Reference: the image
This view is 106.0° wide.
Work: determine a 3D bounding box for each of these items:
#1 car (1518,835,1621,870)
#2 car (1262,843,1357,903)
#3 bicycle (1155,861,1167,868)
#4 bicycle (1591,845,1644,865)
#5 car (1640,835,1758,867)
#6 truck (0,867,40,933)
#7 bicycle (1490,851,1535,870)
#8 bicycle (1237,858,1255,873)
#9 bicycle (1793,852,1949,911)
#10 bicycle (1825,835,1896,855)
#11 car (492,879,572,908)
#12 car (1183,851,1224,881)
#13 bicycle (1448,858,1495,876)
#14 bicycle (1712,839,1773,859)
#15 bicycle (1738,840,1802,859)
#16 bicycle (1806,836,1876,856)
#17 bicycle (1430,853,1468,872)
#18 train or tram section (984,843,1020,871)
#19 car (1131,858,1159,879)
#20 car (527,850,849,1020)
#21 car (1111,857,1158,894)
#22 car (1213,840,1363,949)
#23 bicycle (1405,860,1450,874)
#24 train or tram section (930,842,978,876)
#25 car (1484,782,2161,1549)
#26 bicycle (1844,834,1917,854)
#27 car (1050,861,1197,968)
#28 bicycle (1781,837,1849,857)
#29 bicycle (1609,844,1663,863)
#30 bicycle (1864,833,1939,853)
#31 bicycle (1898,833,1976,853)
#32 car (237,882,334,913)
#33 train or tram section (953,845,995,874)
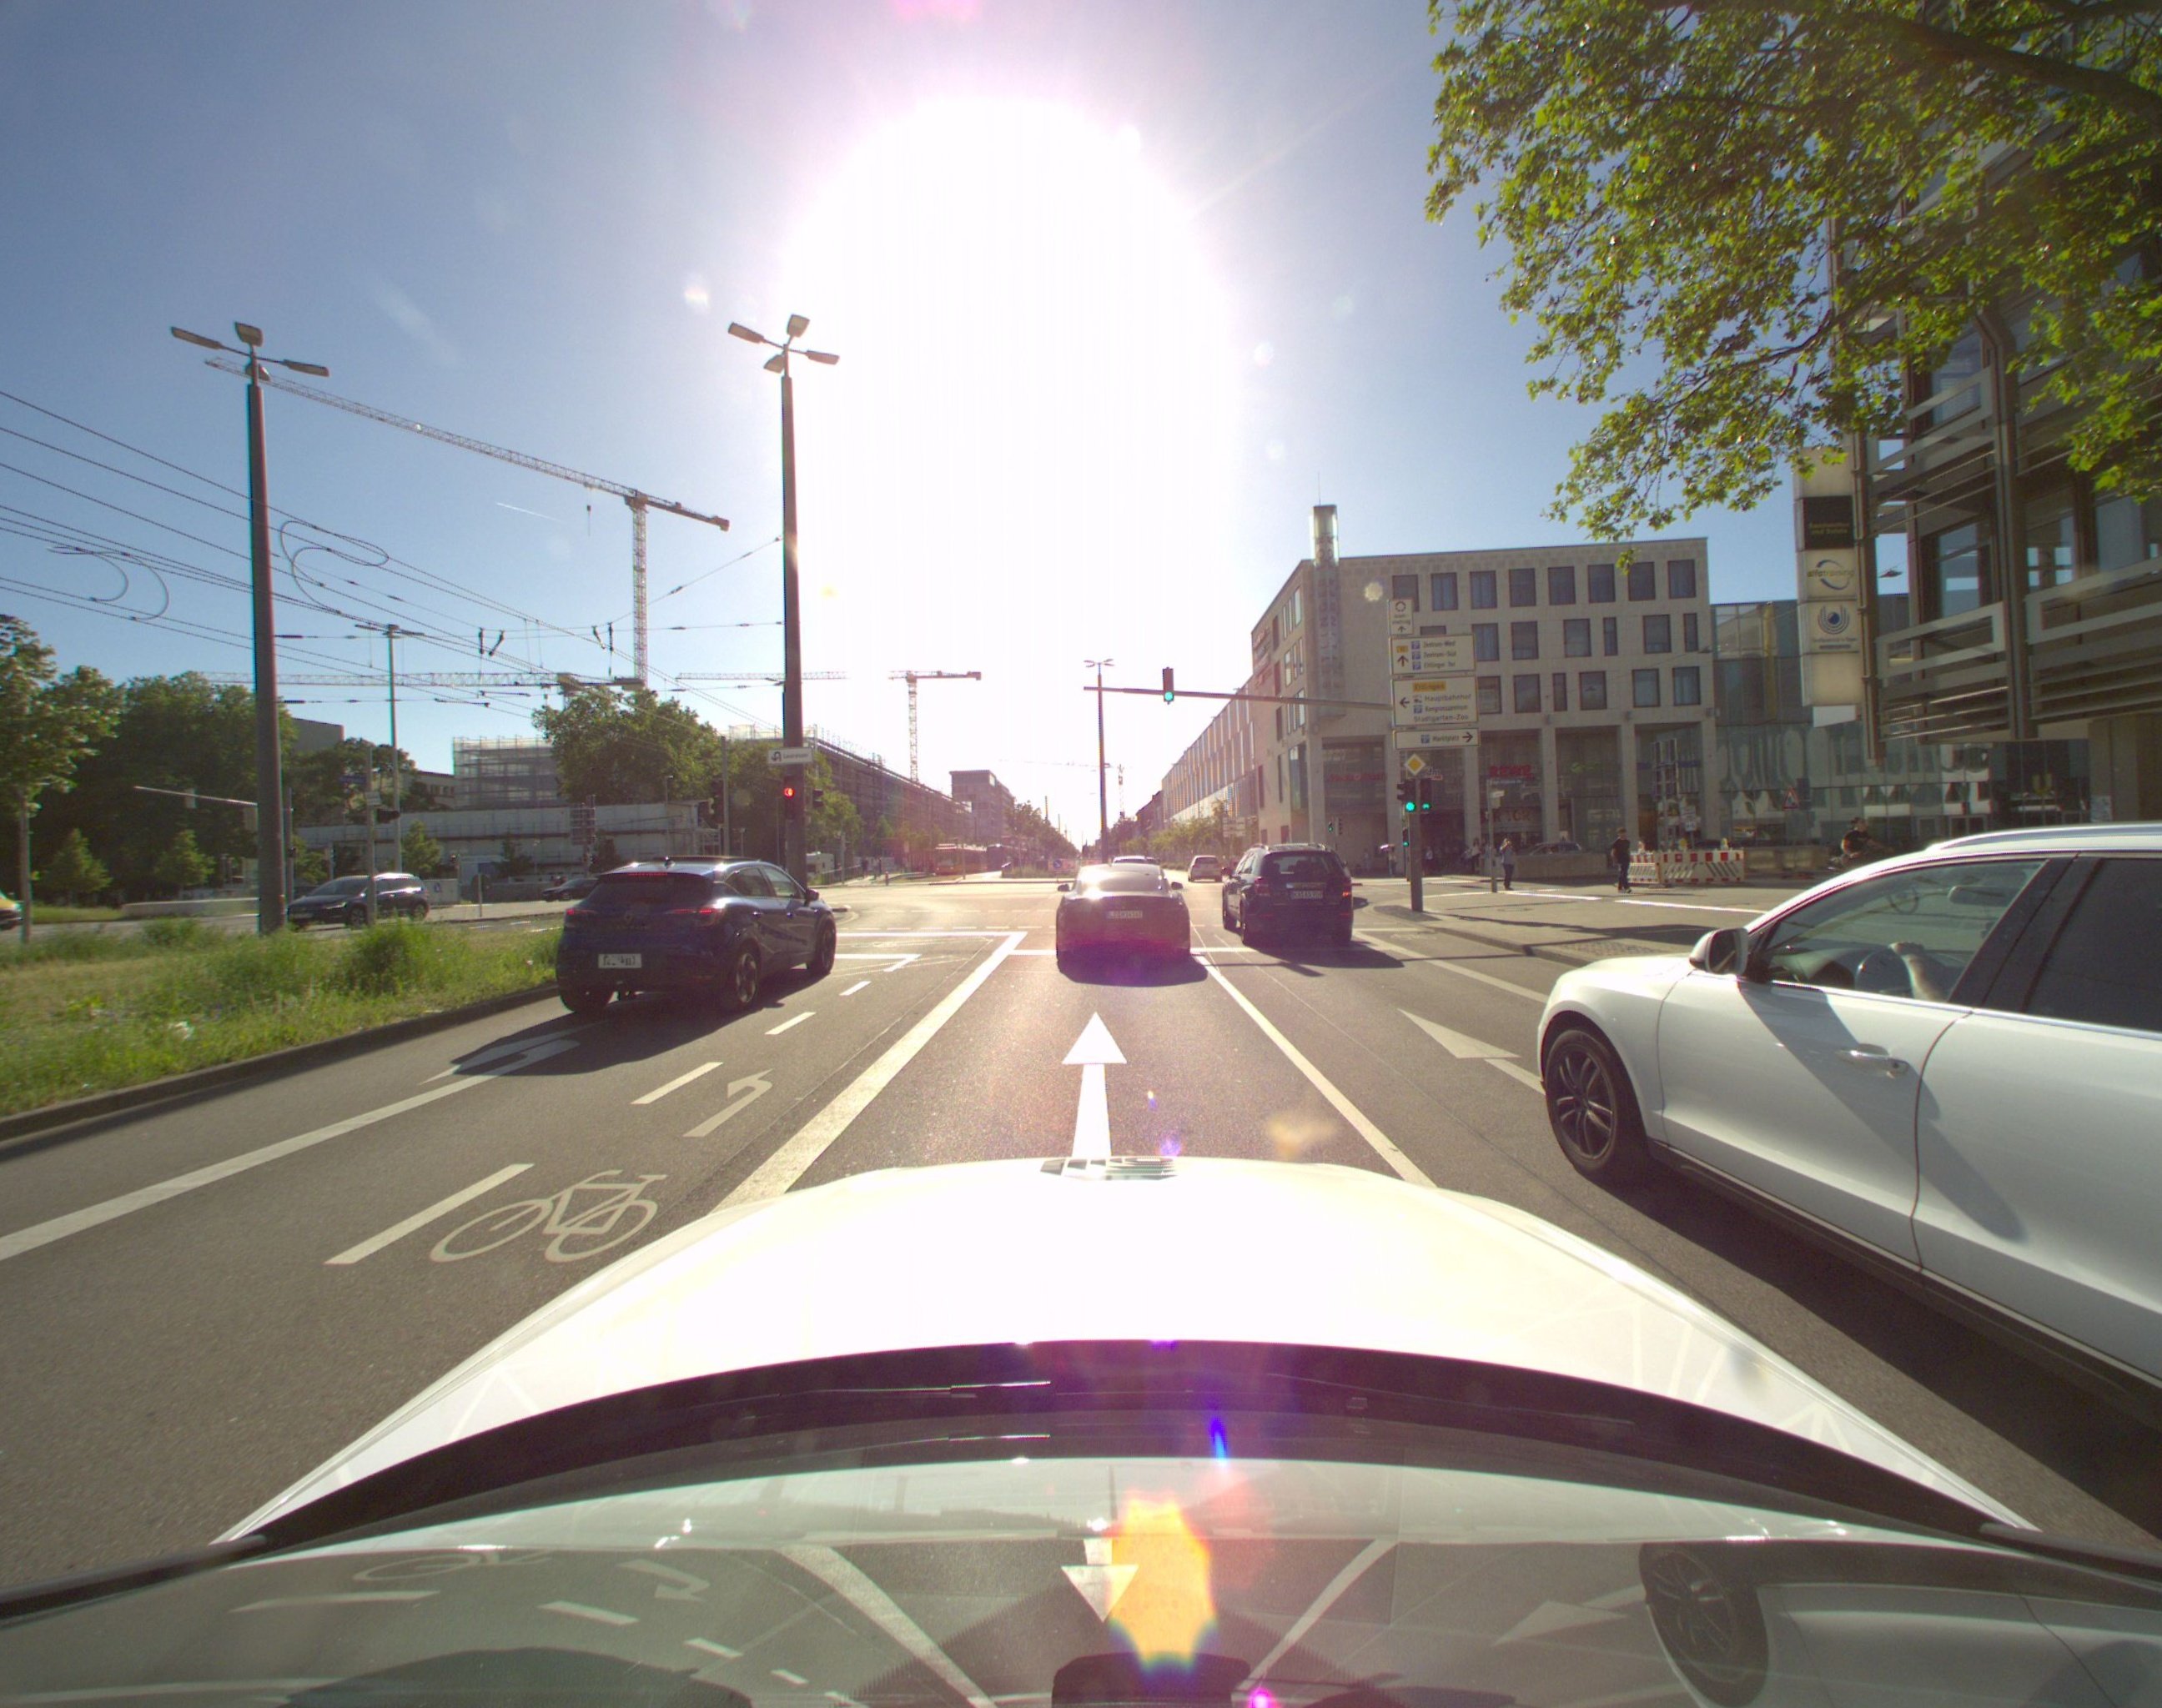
[{"bbox_3d":[25.525,-0.068,42.669,4.167,1.613,1.862,-2,-2,3],"label":"car"},{"bbox_3d":[7.380,0.550,26.018,1.767,1.733,4.190,-2,0,32],"label":"car"},{"bbox_3d":[13.127,1.716,134.067,1.881,1.151,0.669,-3,-1,-10],"label":"bicycle"},{"bbox_3d":[32.435,0.069,49.353,1.061,1.094,3.501,-2,0,4],"label":"bicycle"},{"bbox_3d":[31.905,-0.148,42.134,4.585,1.421,1.862,-2,-2,3],"label":"car"},{"bbox_3d":[-50.466,2.117,35.436,7.967,2.793,2.467,-2,-1,6],"label":"truck"},{"bbox_3d":[26.246,0.417,49.635,1.061,1.094,3.500,-2,0,3],"label":"bicycle"},{"bbox_3d":[11.926,0.828,58.930,0.727,0.983,2.331,-2,0,-3],"label":"bicycle"},{"bbox_3d":[14.352,0.474,14.899,0.878,0.984,2.051,-2,0,1],"label":"bicycle"},{"bbox_3d":[46.409,-0.492,48.559,1.061,1.094,3.501,-2,0,4],"label":"bicycle"},{"bbox_3d":[-34.666,2.485,51.484,4.020,1.601,1.977,-2,-1,-39],"label":"car"},{"bbox_3d":[6.829,0.659,45.766,1.777,1.546,4.041,-1,0,2],"label":"car"},{"bbox_3d":[22.486,0.739,46.877,2.183,0.943,1.073,-2,-1,4],"label":"bicycle"},{"bbox_3d":[40.115,-0.280,49.466,1.061,1.094,3.501,-2,0,4],"label":"bicycle"},{"bbox_3d":[41.252,-0.256,48.836,1.061,1.094,3.501,-2,0,4],"label":"bicycle"},{"bbox_3d":[45.181,-0.434,48.518,1.061,1.094,3.501,-2,0,4],"label":"bicycle"},{"bbox_3d":[22.657,0.513,50.191,1.061,1.094,2.993,-2,0,3],"label":"bicycle"},{"bbox_3d":[-9.953,0.391,104.520,2.860,3.279,15.186,0,0,1],"label":"train or tram section"},{"bbox_3d":[4.321,0.944,55.661,1.710,1.320,4.001,-1,0,2],"label":"car"},{"bbox_3d":[-4.274,0.774,9.689,1.764,1.588,4.089,0,0,1],"label":"car"},{"bbox_3d":[2.051,0.797,32.090,1.710,1.320,4.001,-1,0,2],"label":"car"},{"bbox_3d":[3.648,0.649,15.154,1.777,1.699,4.415,-1,0,2],"label":"car"},{"bbox_3d":[19.987,0.750,46.995,2.183,0.671,1.073,-2,-1,4],"label":"bicycle"},{"bbox_3d":[-13.405,0.558,87.038,2.860,3.310,13.074,0,0,1],"label":"train or tram section"},{"bbox_3d":[3.196,0.636,2.535,1.812,1.613,4.415,-1,0,2],"label":"car"},{"bbox_3d":[47.578,-0.561,48.533,1.061,1.094,3.501,-2,0,4],"label":"bicycle"},{"bbox_3d":[0.669,0.847,13.400,1.991,1.434,4.414,-1,0,2],"label":"car"},{"bbox_3d":[43.835,-0.399,48.731,1.061,1.094,3.501,-2,0,4],"label":"bicycle"},{"bbox_3d":[33.614,0.002,49.379,1.061,1.094,3.501,-2,0,4],"label":"bicycle"},{"bbox_3d":[48.735,-0.616,48.431,1.061,1.094,3.501,-2,0,4],"label":"bicycle"},{"bbox_3d":[50.313,-0.610,47.933,1.061,1.094,3.501,-2,0,4],"label":"bicycle"},{"bbox_3d":[-47.013,2.537,48.177,3.967,1.601,2.003,-2,-1,6],"label":"car"},{"bbox_3d":[-13.145,0.634,101.584,2.838,3.321,15.967,0,0,1],"label":"train or tram section"}]
